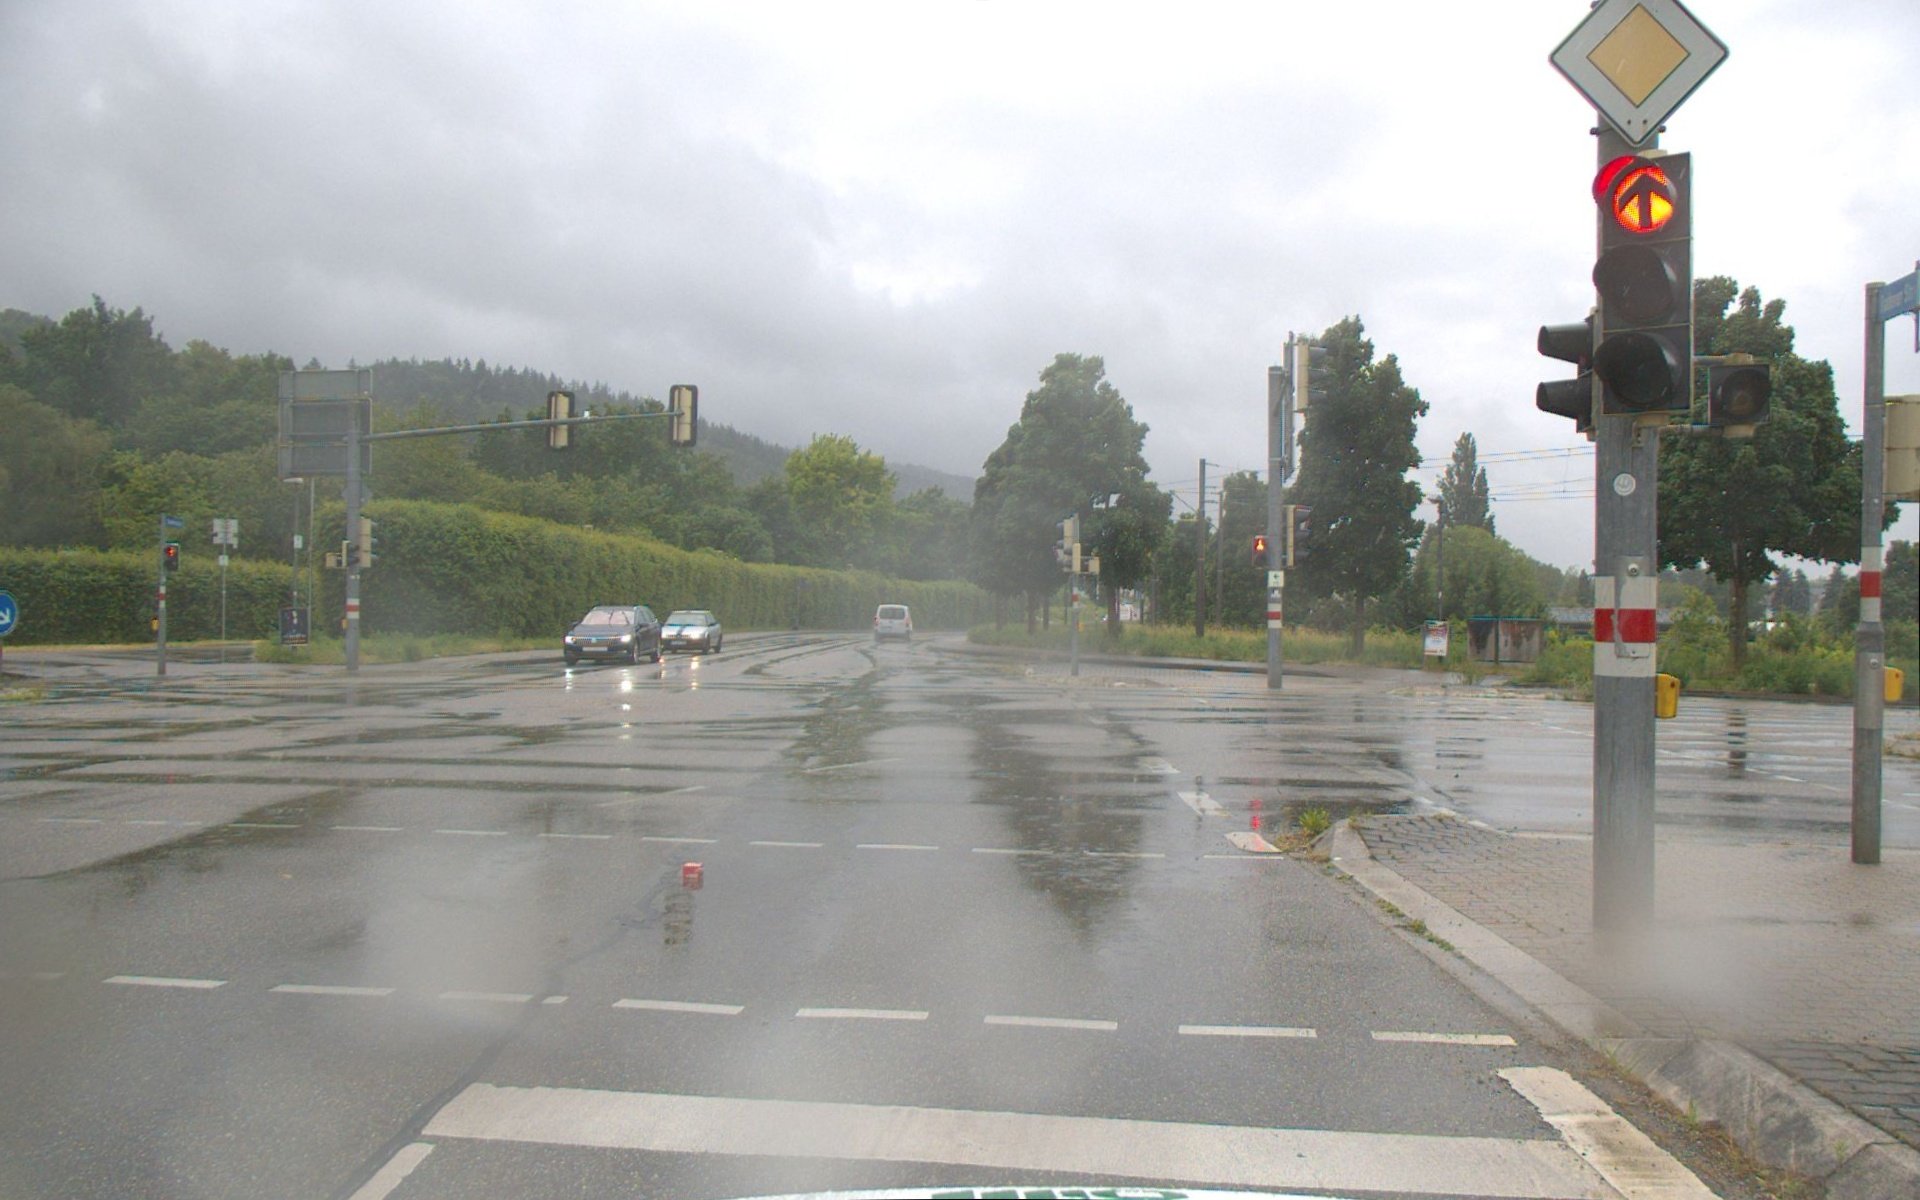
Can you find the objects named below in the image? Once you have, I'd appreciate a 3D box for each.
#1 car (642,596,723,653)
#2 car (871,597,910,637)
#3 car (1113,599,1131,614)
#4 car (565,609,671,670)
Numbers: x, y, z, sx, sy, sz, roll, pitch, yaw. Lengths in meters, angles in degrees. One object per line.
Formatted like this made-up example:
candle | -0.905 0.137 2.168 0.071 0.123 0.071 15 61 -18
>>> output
car | -8.990 0.749 53.846 1.995 1.738 4.065 1 0 -1
car | -3.483 0.816 82.702 1.914 1.937 4.118 0 0 -3
car | 21.077 0.834 215.082 1.891 1.923 4.065 0 0 13
car | -8.886 0.993 43.303 1.673 1.491 4.454 0 0 2
